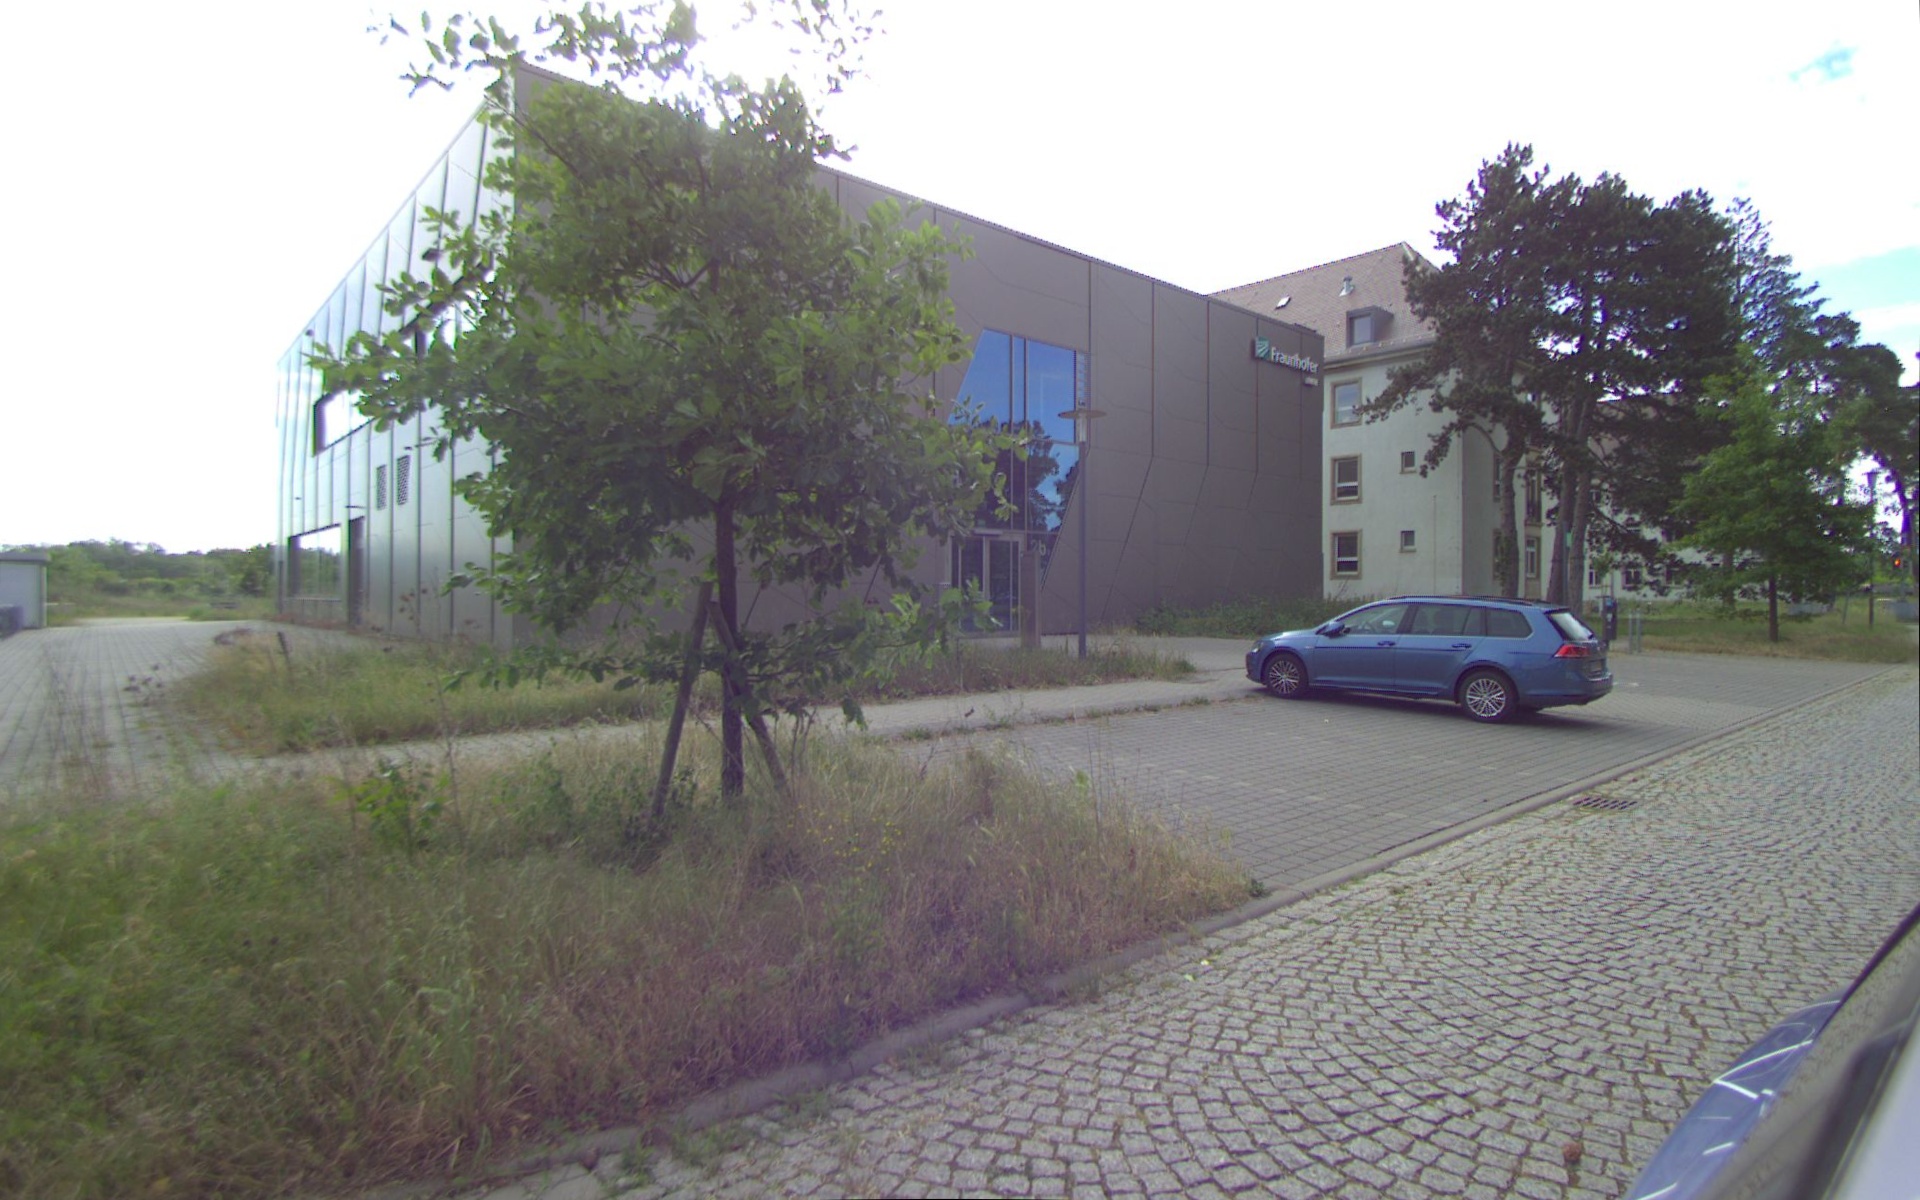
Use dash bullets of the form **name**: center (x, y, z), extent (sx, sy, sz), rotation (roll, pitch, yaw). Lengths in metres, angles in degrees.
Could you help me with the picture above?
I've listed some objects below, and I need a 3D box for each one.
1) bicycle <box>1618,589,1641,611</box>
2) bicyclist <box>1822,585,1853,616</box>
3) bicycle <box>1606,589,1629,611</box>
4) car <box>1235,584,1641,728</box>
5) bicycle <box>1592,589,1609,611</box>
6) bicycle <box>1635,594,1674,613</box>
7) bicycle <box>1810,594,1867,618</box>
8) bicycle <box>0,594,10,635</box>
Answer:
- **bicycle**: center (41.388, 0.005, 62.562), extent (1.802, 1.349, 0.573), rotation (0, 0, -34)
- **bicyclist**: center (47.378, 0.001, 54.663), extent (0.904, 1.656, 0.960), rotation (0, 0, 16)
- **bicycle**: center (40.893, -0.011, 62.959), extent (1.802, 1.349, 0.573), rotation (0, 0, -34)
- **car**: center (6.145, 0.584, 13.436), extent (1.793, 1.461, 4.526), rotation (0, 2, -44)
- **bicycle**: center (40.300, 0.005, 63.676), extent (0.571, 1.349, 1.809), rotation (0, 0, 43)
- **bicycle**: center (41.285, 0.219, 60.180), extent (0.562, 1.098, 1.836), rotation (-2, 2, -38)
- **bicycle**: center (47.419, 0.325, 54.648), extent (2.133, 1.292, 0.959), rotation (0, 0, 16)
- **bicycle**: center (-26.731, 0.411, 27.196), extent (1.733, 1.113, 0.521), rotation (-1, -1, -40)
